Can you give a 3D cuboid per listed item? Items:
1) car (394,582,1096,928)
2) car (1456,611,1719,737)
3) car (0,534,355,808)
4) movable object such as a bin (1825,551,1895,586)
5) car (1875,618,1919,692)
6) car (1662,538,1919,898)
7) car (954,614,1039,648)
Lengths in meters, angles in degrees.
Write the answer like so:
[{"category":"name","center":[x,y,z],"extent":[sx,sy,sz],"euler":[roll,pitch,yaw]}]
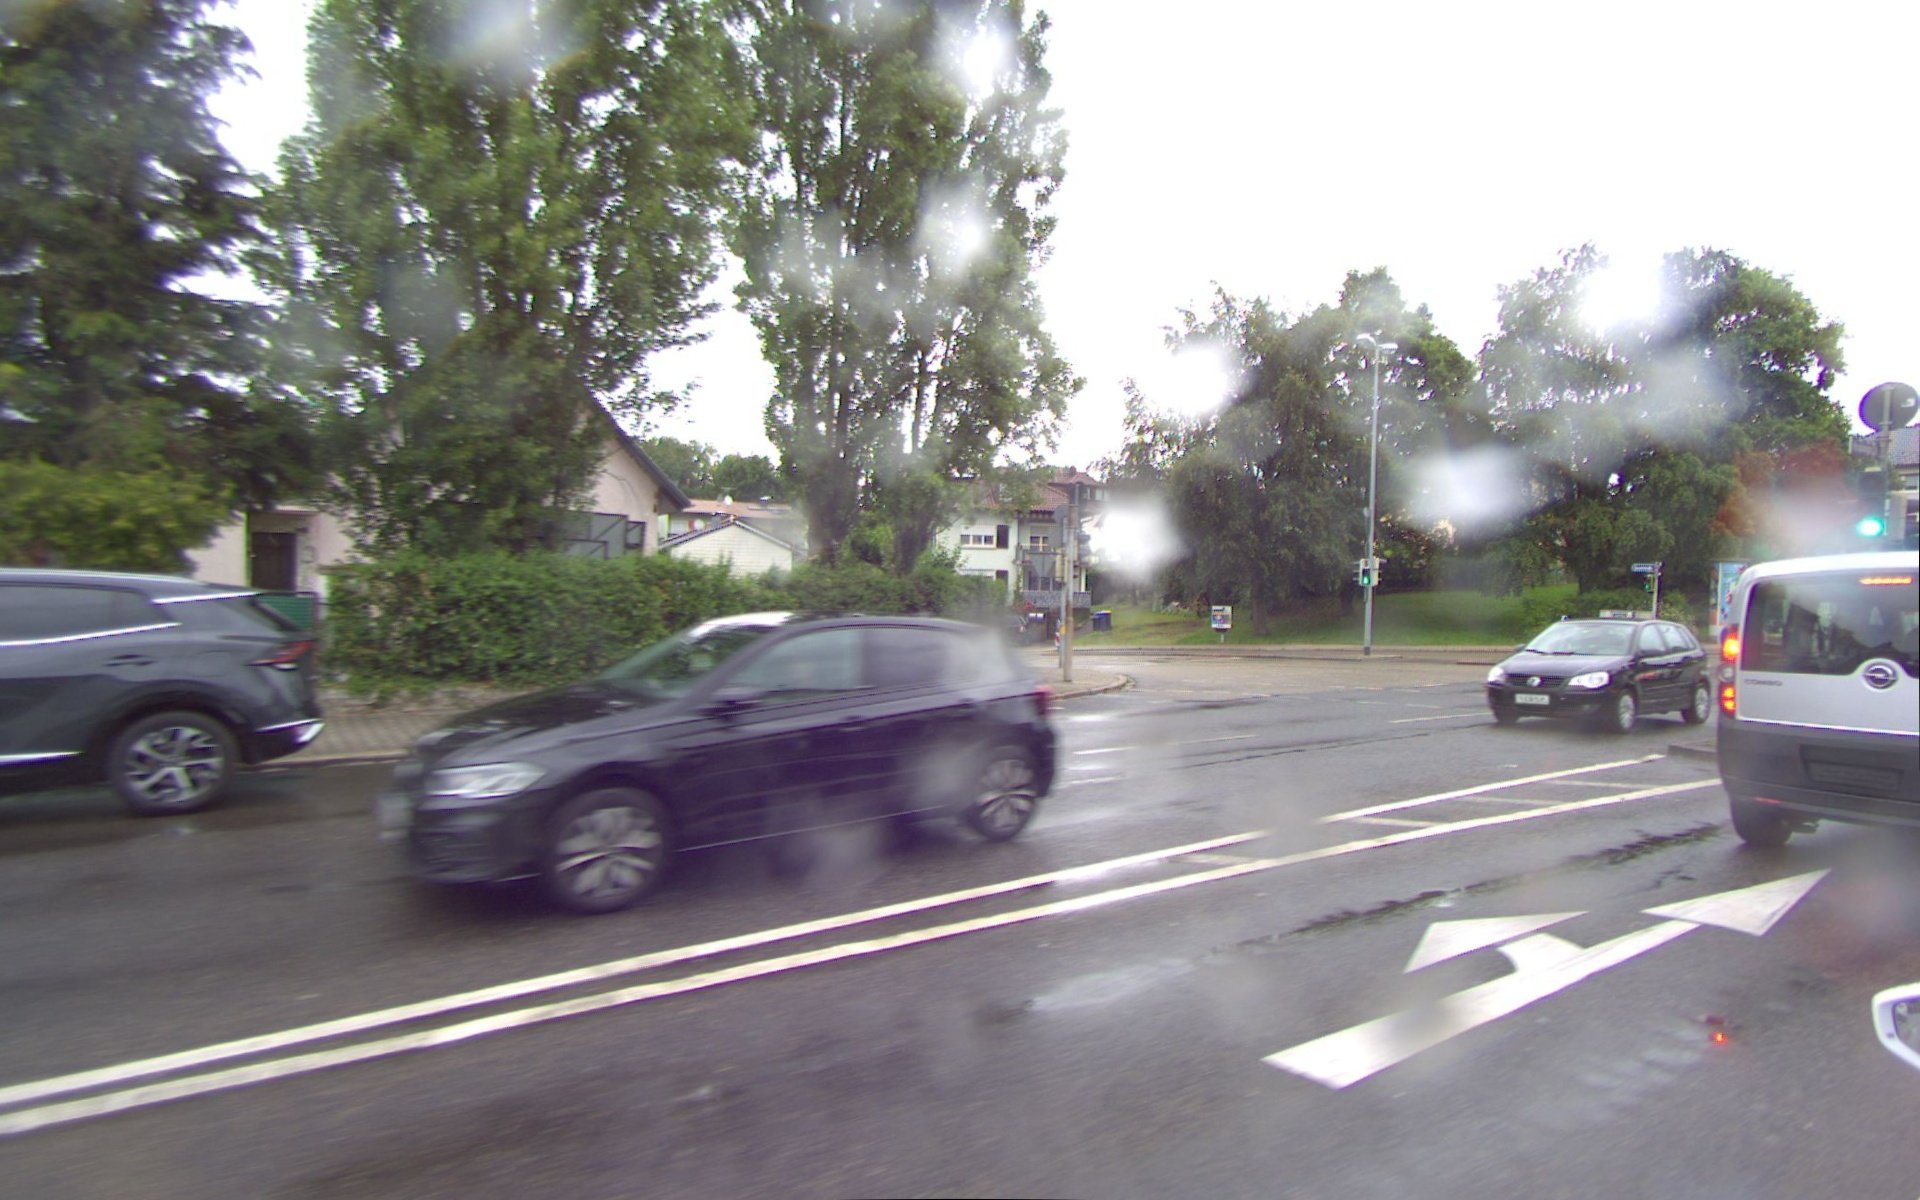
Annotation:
[{"category":"car","center":[-1.179,0.715,6.286],"extent":[3.961,1.522,1.700],"euler":[1,-1,-36]},{"category":"car","center":[8.785,0.905,13.963],"extent":[3.963,1.483,1.839],"euler":[1,0,-38]},{"category":"car","center":[-6.764,0.428,6.676],"extent":[4.555,1.691,1.792],"euler":[2,-1,-36]},{"category":"movable object such as a bin","center":[41.116,-1.422,45.916],"extent":[1.325,1.535,2.052],"euler":[-2,0,-24]},{"category":"car","center":[22.529,1.231,22.616],"extent":[4.721,1.577,1.824],"euler":[2,-1,-34]},{"category":"car","center":[6.899,0.655,6.794],"extent":[4.695,1.896,1.940],"euler":[1,-1,-33]},{"category":"car","center":[1.935,1.637,52.945],"extent":[4.112,1.726,1.939],"euler":[-1,-1,17]}]
